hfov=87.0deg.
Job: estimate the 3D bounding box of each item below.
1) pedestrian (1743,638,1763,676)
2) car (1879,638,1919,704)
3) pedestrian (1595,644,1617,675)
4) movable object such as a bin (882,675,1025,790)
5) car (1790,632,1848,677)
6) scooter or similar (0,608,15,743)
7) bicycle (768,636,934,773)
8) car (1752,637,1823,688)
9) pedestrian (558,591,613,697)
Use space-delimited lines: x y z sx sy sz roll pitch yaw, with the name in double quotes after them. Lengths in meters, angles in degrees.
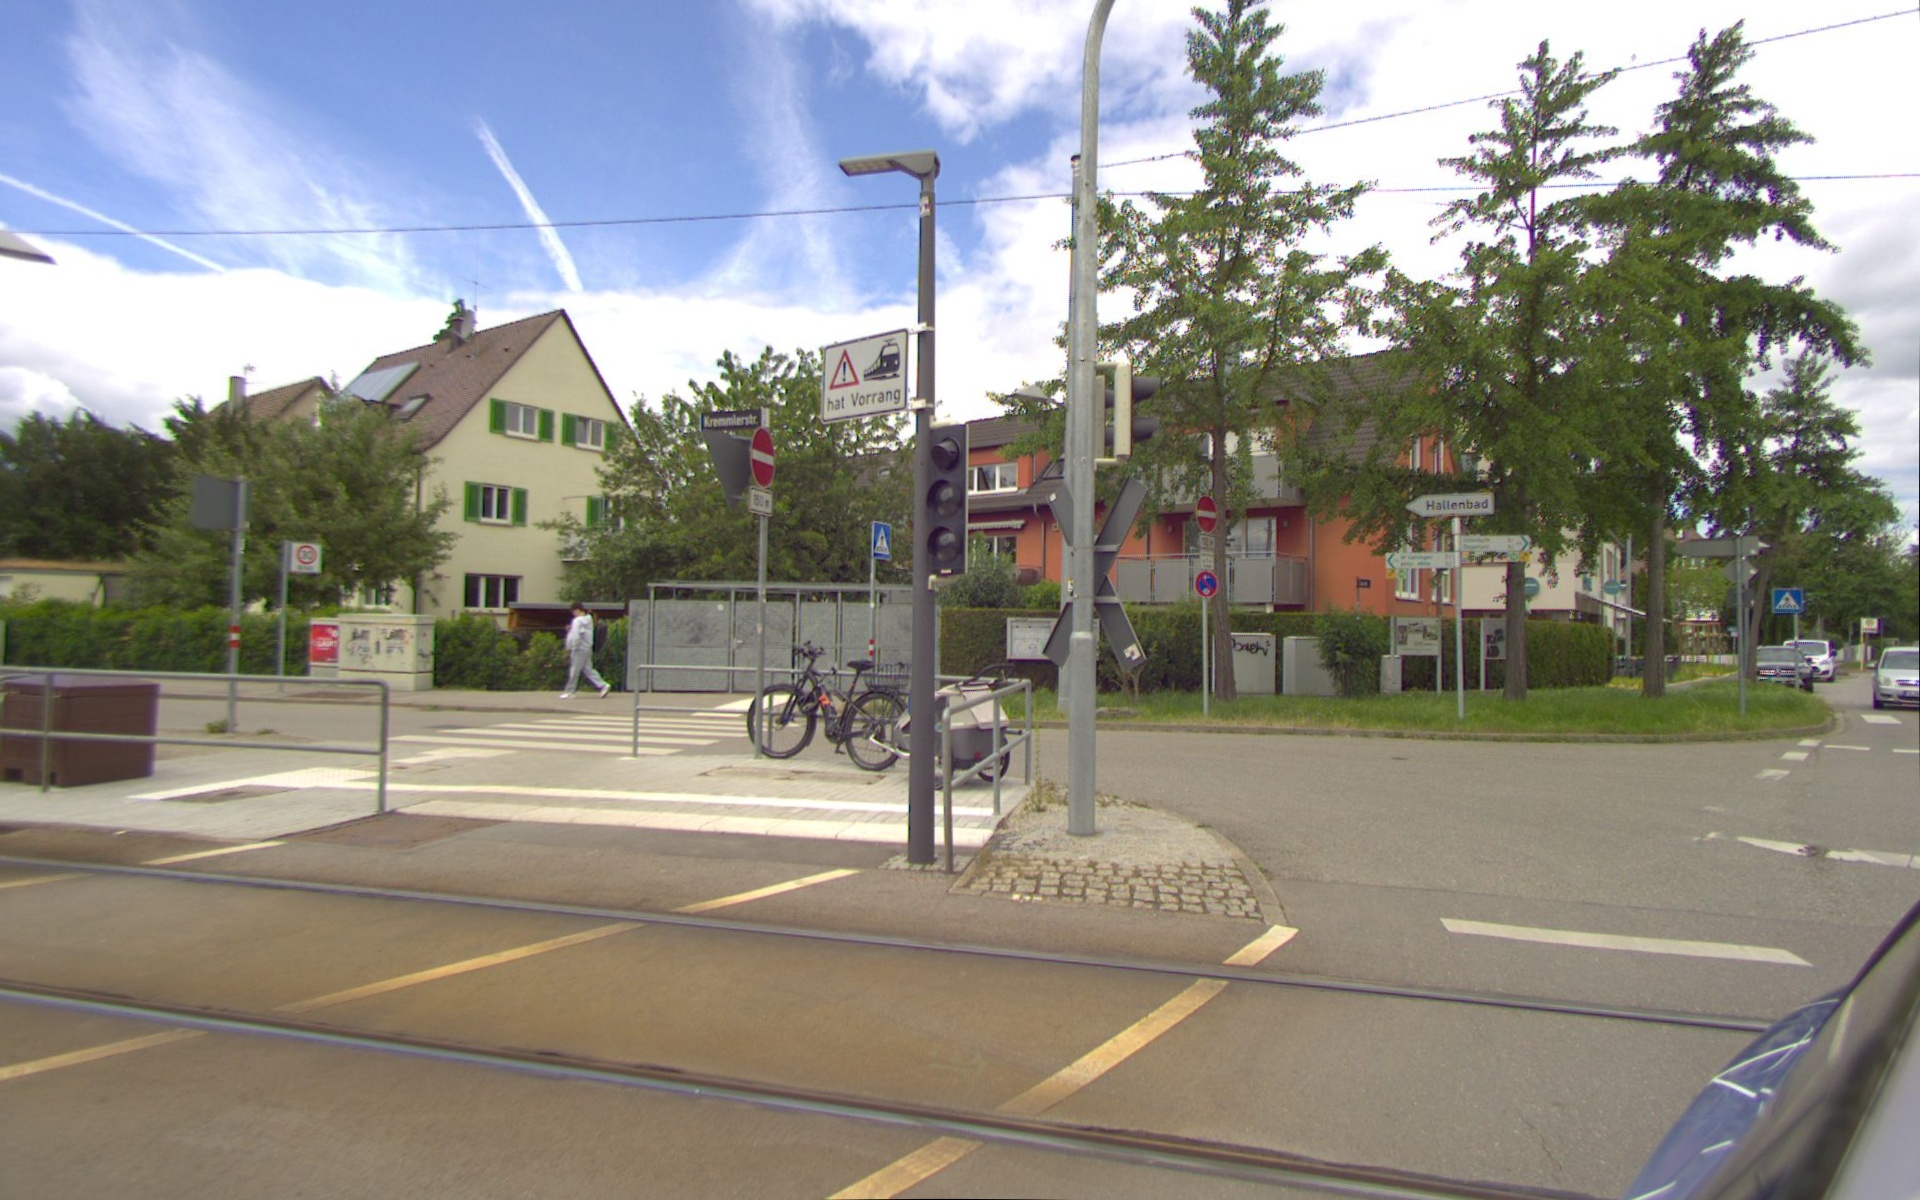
37.100 2.654 47.329 0.676 1.690 0.649 1 -1 42 "pedestrian"
24.883 1.802 26.081 1.720 1.588 3.866 0 -2 42 "car"
27.050 2.480 42.380 0.749 1.254 0.682 0 -2 37 "pedestrian"
-0.059 1.092 8.586 1.088 0.835 0.571 0 -2 38 "movable object such as a bin"
41.386 2.588 48.723 1.991 2.040 5.482 -2 -3 41 "car"
-9.855 0.738 9.692 0.482 1.332 1.046 2 -1 14 "scooter or similar"
-1.074 0.960 9.755 1.681 1.170 0.461 0 -2 35 "bicycle"
29.519 2.183 36.119 1.844 1.658 4.400 -1 -3 40 "car"
-7.044 0.822 19.067 0.813 1.939 0.627 2 -1 -12 "pedestrian"
